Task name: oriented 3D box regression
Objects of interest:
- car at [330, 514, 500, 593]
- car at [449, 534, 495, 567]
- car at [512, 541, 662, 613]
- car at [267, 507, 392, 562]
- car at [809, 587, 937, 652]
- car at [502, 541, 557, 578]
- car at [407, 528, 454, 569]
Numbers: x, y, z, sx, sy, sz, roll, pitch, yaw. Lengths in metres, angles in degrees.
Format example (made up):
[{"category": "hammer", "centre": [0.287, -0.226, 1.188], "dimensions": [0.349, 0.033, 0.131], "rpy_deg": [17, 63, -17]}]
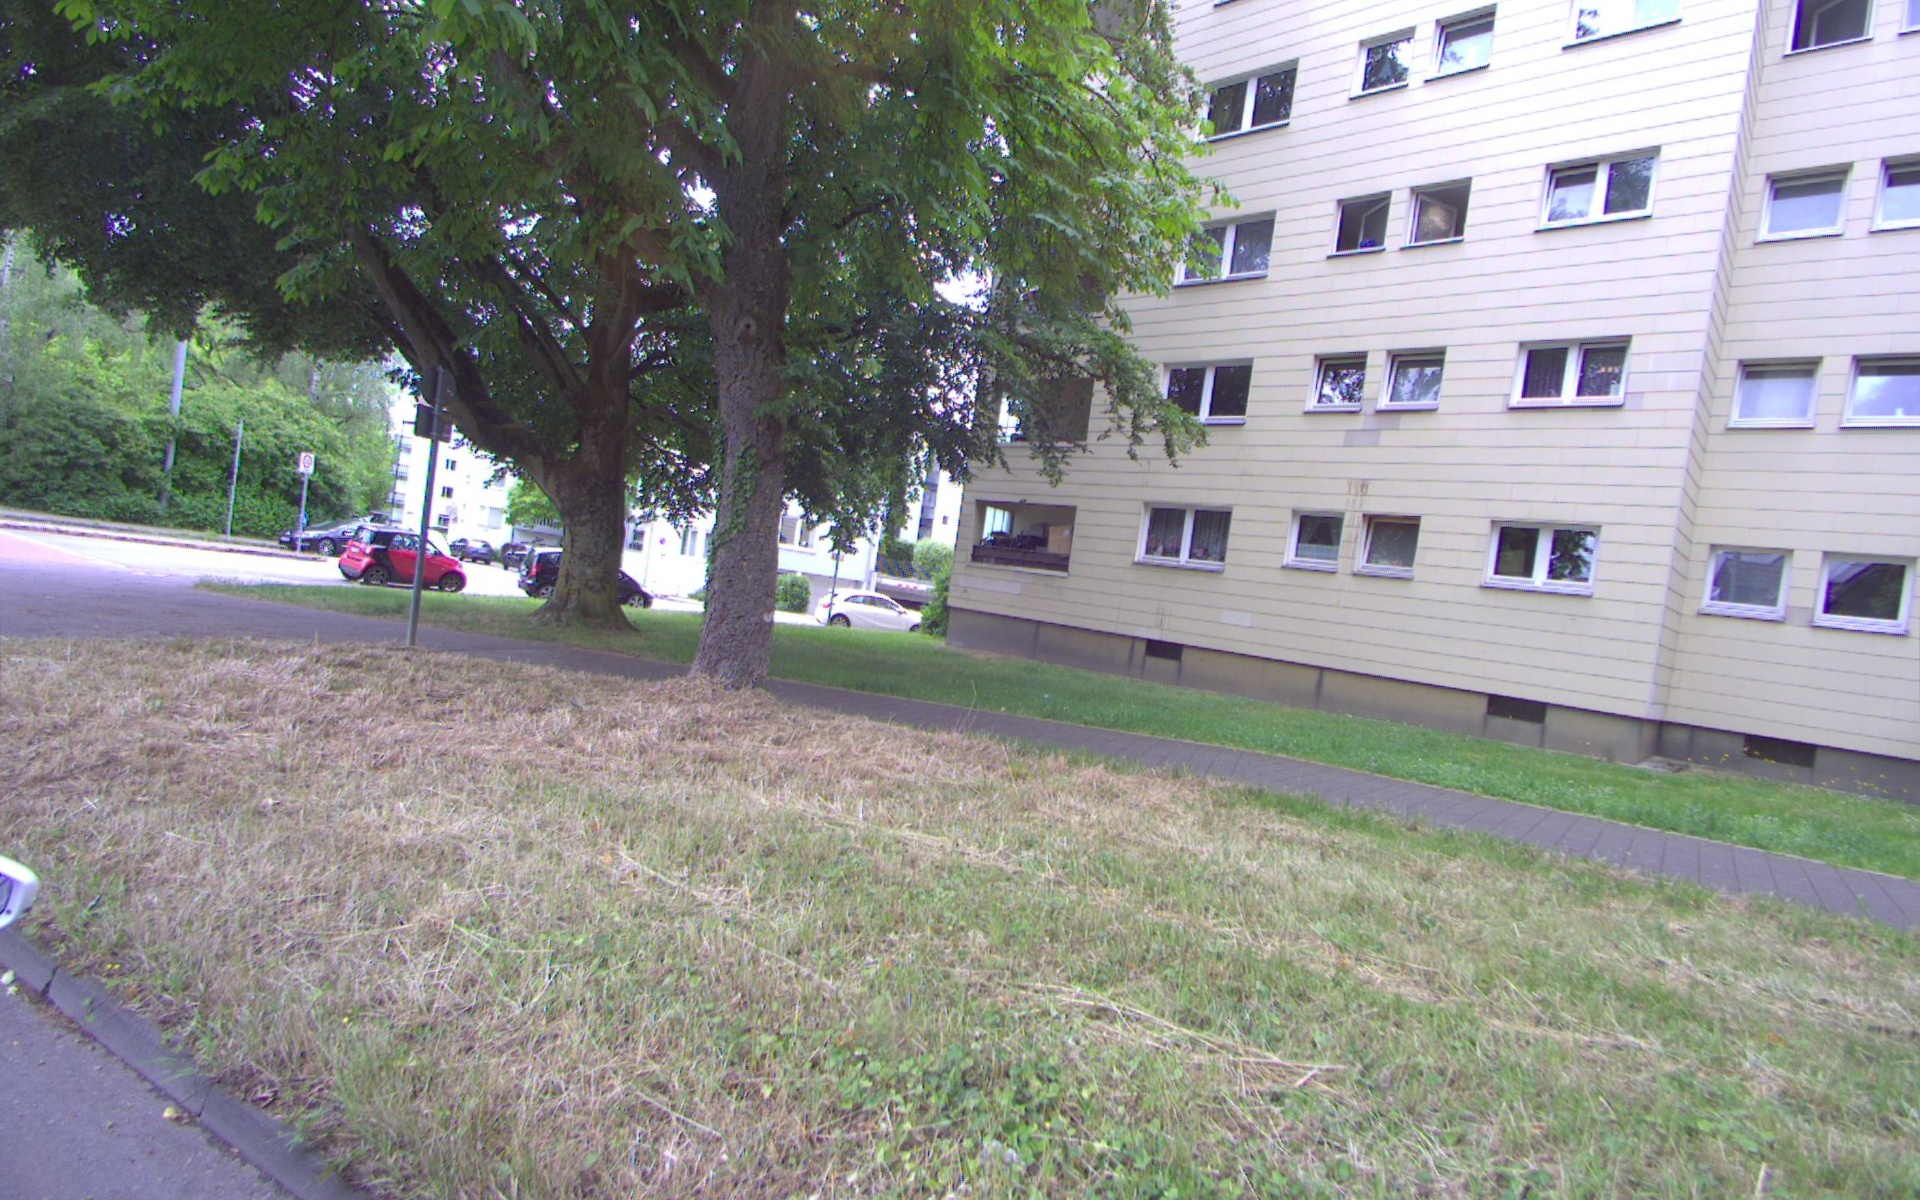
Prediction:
[{"category": "car", "centre": [-14.533, -1.210, 26.946], "dimensions": [1.702, 1.631, 3.516], "rpy_deg": [8, 1, 37]}, {"category": "car", "centre": [-30.116, -3.075, 62.024], "dimensions": [1.713, 1.631, 3.813], "rpy_deg": [6, 1, -38]}, {"category": "car", "centre": [-11.063, -0.677, 29.920], "dimensions": [3.814, 1.631, 1.713], "rpy_deg": [6, 1, -33]}, {"category": "car", "centre": [-23.407, -2.406, 37.431], "dimensions": [1.702, 1.549, 3.515], "rpy_deg": [8, 1, 38]}, {"category": "car", "centre": [-2.890, 0.629, 33.308], "dimensions": [3.796, 1.631, 1.721], "rpy_deg": [7, 1, -18]}, {"category": "car", "centre": [-23.191, -2.201, 54.070], "dimensions": [1.713, 1.631, 3.813], "rpy_deg": [6, 1, -38]}, {"category": "car", "centre": [-24.881, -2.444, 47.182], "dimensions": [1.709, 1.631, 3.823], "rpy_deg": [6, 1, -30]}]
